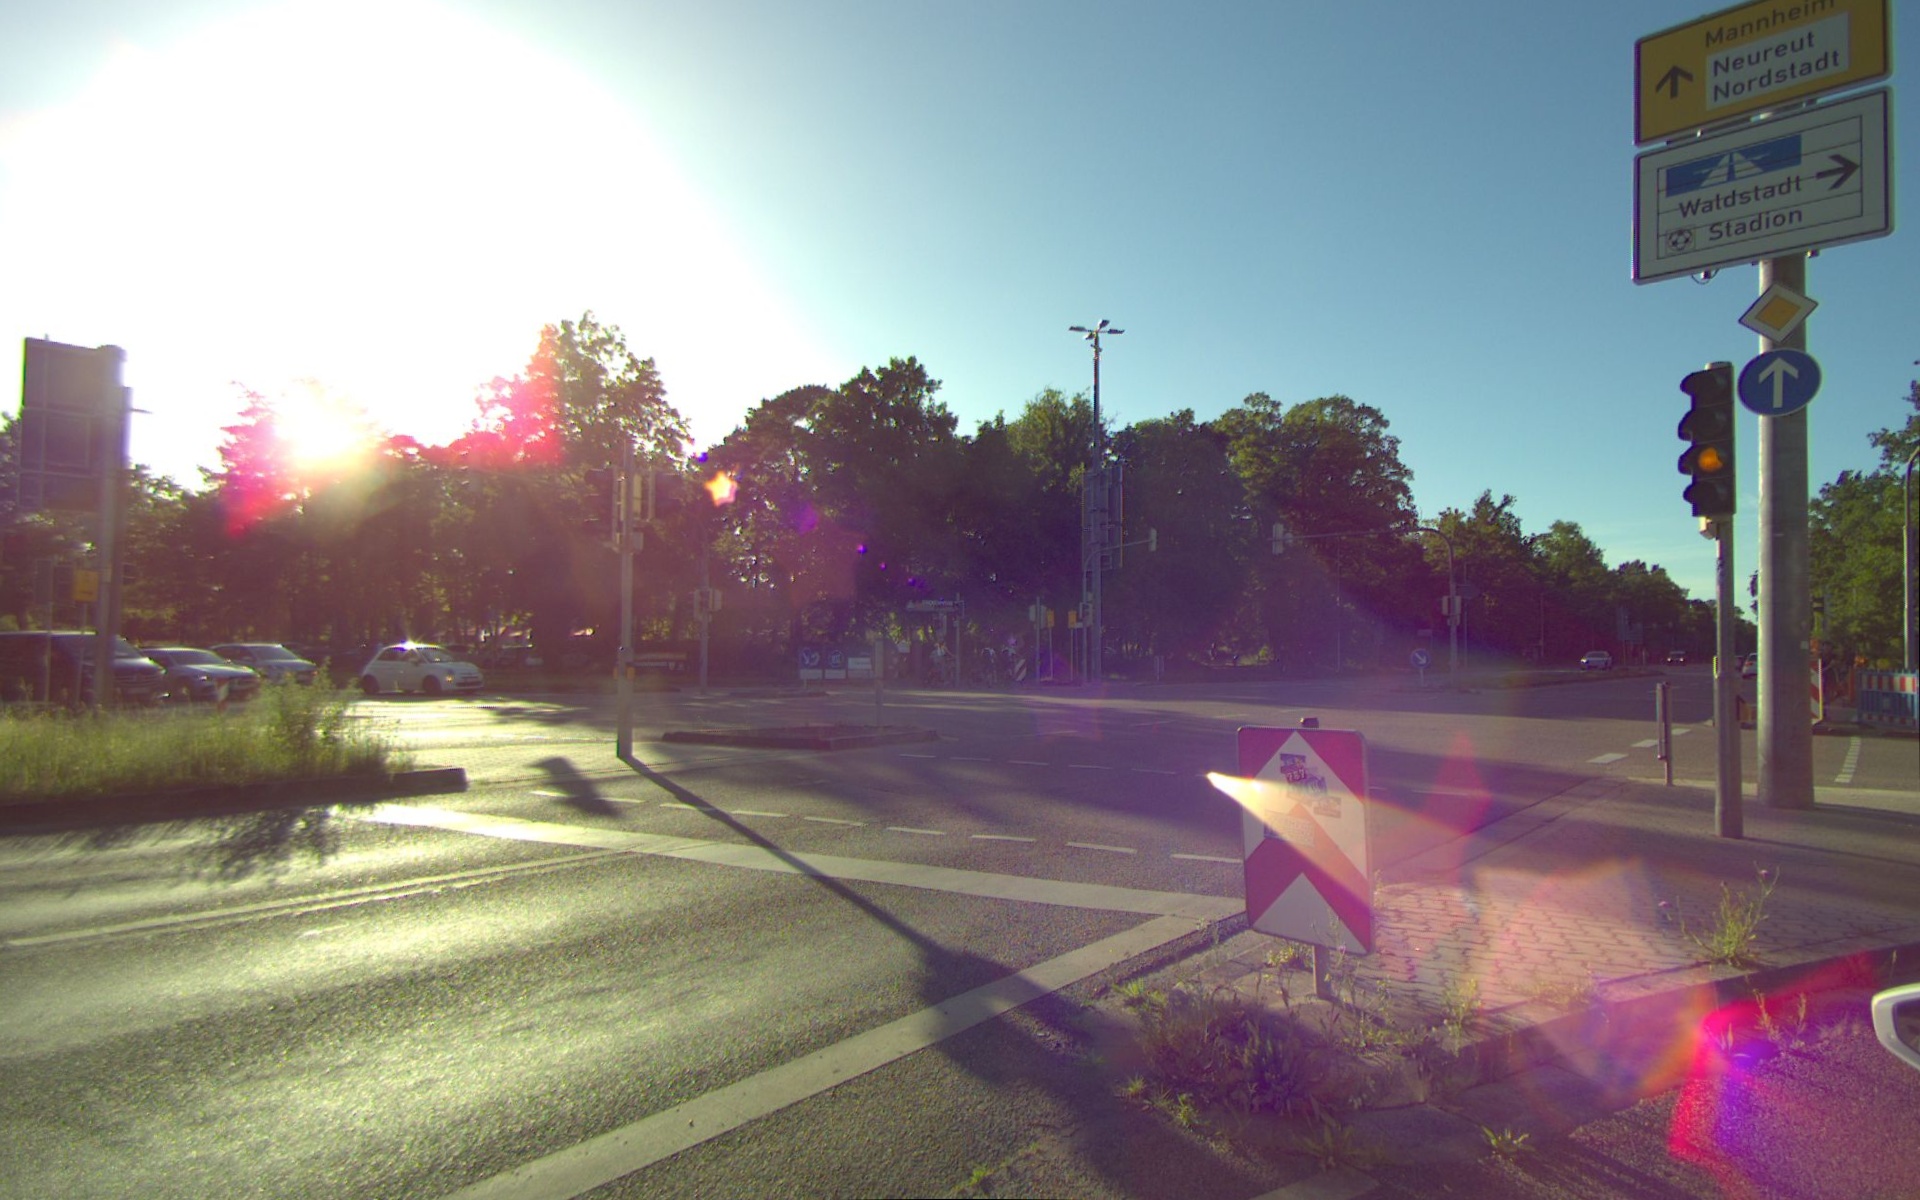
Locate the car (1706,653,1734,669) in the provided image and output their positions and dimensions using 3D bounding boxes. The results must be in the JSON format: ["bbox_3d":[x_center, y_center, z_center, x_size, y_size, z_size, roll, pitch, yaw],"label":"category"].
[{"bbox_3d":[74.644,6.002,98.652,1.843,1.463,3.978,0,-3,43],"label":"car"}]

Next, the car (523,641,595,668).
[{"bbox_3d":[-24.791,3.368,62.212,1.778,1.620,4.197,0,-3,20],"label":"car"}]

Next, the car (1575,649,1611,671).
[{"bbox_3d":[54.385,5.123,86.267,1.971,1.812,4.228,-1,-3,41],"label":"car"}]

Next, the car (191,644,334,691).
[{"bbox_3d":[-22.322,2.120,32.174,3.724,1.407,1.855,0,-3,18],"label":"car"}]

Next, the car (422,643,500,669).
[{"bbox_3d":[-31.949,3.562,64.442,1.782,1.620,4.143,-1,-3,30],"label":"car"}]

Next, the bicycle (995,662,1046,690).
[{"bbox_3d":[2.181,2.711,35.950,1.898,0.926,0.708,3,-3,-44],"label":"bicycle"}]

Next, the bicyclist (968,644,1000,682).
[{"bbox_3d":[0.896,2.326,37.310,0.984,1.373,0.708,3,-3,-44],"label":"bicyclist"}]

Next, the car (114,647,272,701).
[{"bbox_3d":[-21.349,2.021,27.978,3.724,1.407,1.649,0,-3,18],"label":"car"}]

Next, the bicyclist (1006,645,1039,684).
[{"bbox_3d":[2.228,2.315,36.003,0.984,1.356,0.708,3,-3,-44],"label":"bicyclist"}]

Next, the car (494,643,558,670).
[{"bbox_3d":[-27.184,3.538,63.013,1.778,1.620,3.502,0,-3,20],"label":"car"}]

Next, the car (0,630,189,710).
[{"bbox_3d":[-21.935,1.691,24.966,4.835,1.853,1.929,0,-3,18],"label":"car"}]

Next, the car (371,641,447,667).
[{"bbox_3d":[-35.511,3.473,64.853,1.782,1.620,3.964,-1,-3,30],"label":"car"}]

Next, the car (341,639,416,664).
[{"bbox_3d":[-39.174,3.493,67.759,1.782,1.620,3.964,-1,-3,30],"label":"car"}]

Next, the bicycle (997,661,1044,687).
[{"bbox_3d":[2.353,2.842,38.777,1.898,0.926,0.708,3,-3,-44],"label":"bicycle"}]

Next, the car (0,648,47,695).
[{"bbox_3d":[-30.471,2.181,30.933,3.724,1.407,1.855,0,-3,18],"label":"car"}]

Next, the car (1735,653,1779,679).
[{"bbox_3d":[45.907,3.756,57.877,1.917,1.433,3.983,-2,-3,39],"label":"car"}]

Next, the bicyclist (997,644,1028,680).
[{"bbox_3d":[2.030,2.379,38.476,0.984,1.359,0.708,3,-3,-44],"label":"bicyclist"}]

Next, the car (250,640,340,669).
[{"bbox_3d":[-39.279,3.212,59.383,1.907,1.640,3.996,-1,-3,27],"label":"car"}]

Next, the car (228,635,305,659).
[{"bbox_3d":[-47.855,3.257,69.372,1.782,1.620,3.964,-1,-3,30],"label":"car"}]

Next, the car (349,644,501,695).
[{"bbox_3d":[-15.961,2.033,29.999,3.724,1.407,1.929,0,-3,18],"label":"car"}]

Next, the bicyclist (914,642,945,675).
[{"bbox_3d":[-1.154,2.221,38.253,0.984,1.208,0.708,3,-3,-44],"label":"bicyclist"}]

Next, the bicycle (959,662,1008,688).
[{"bbox_3d":[0.894,2.766,37.298,1.898,0.926,0.708,3,-3,-44],"label":"bicycle"}]

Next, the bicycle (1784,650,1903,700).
[{"bbox_3d":[26.937,2.272,30.659,2.586,1.401,0.969,1,-1,11],"label":"bicycle"}]

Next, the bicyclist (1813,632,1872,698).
[{"bbox_3d":[26.934,1.953,30.676,0.995,1.955,0.969,1,-1,11],"label":"bicyclist"}]

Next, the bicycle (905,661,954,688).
[{"bbox_3d":[-1.157,2.821,38.230,1.898,0.926,0.708,2,-3,-44],"label":"bicycle"}]

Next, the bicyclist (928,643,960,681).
[{"bbox_3d":[-0.586,2.314,37.545,0.984,1.408,0.704,3,-3,-44],"label":"bicyclist"}]

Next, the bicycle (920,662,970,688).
[{"bbox_3d":[-0.563,2.803,37.548,1.898,0.926,0.708,3,-3,-44],"label":"bicycle"}]
